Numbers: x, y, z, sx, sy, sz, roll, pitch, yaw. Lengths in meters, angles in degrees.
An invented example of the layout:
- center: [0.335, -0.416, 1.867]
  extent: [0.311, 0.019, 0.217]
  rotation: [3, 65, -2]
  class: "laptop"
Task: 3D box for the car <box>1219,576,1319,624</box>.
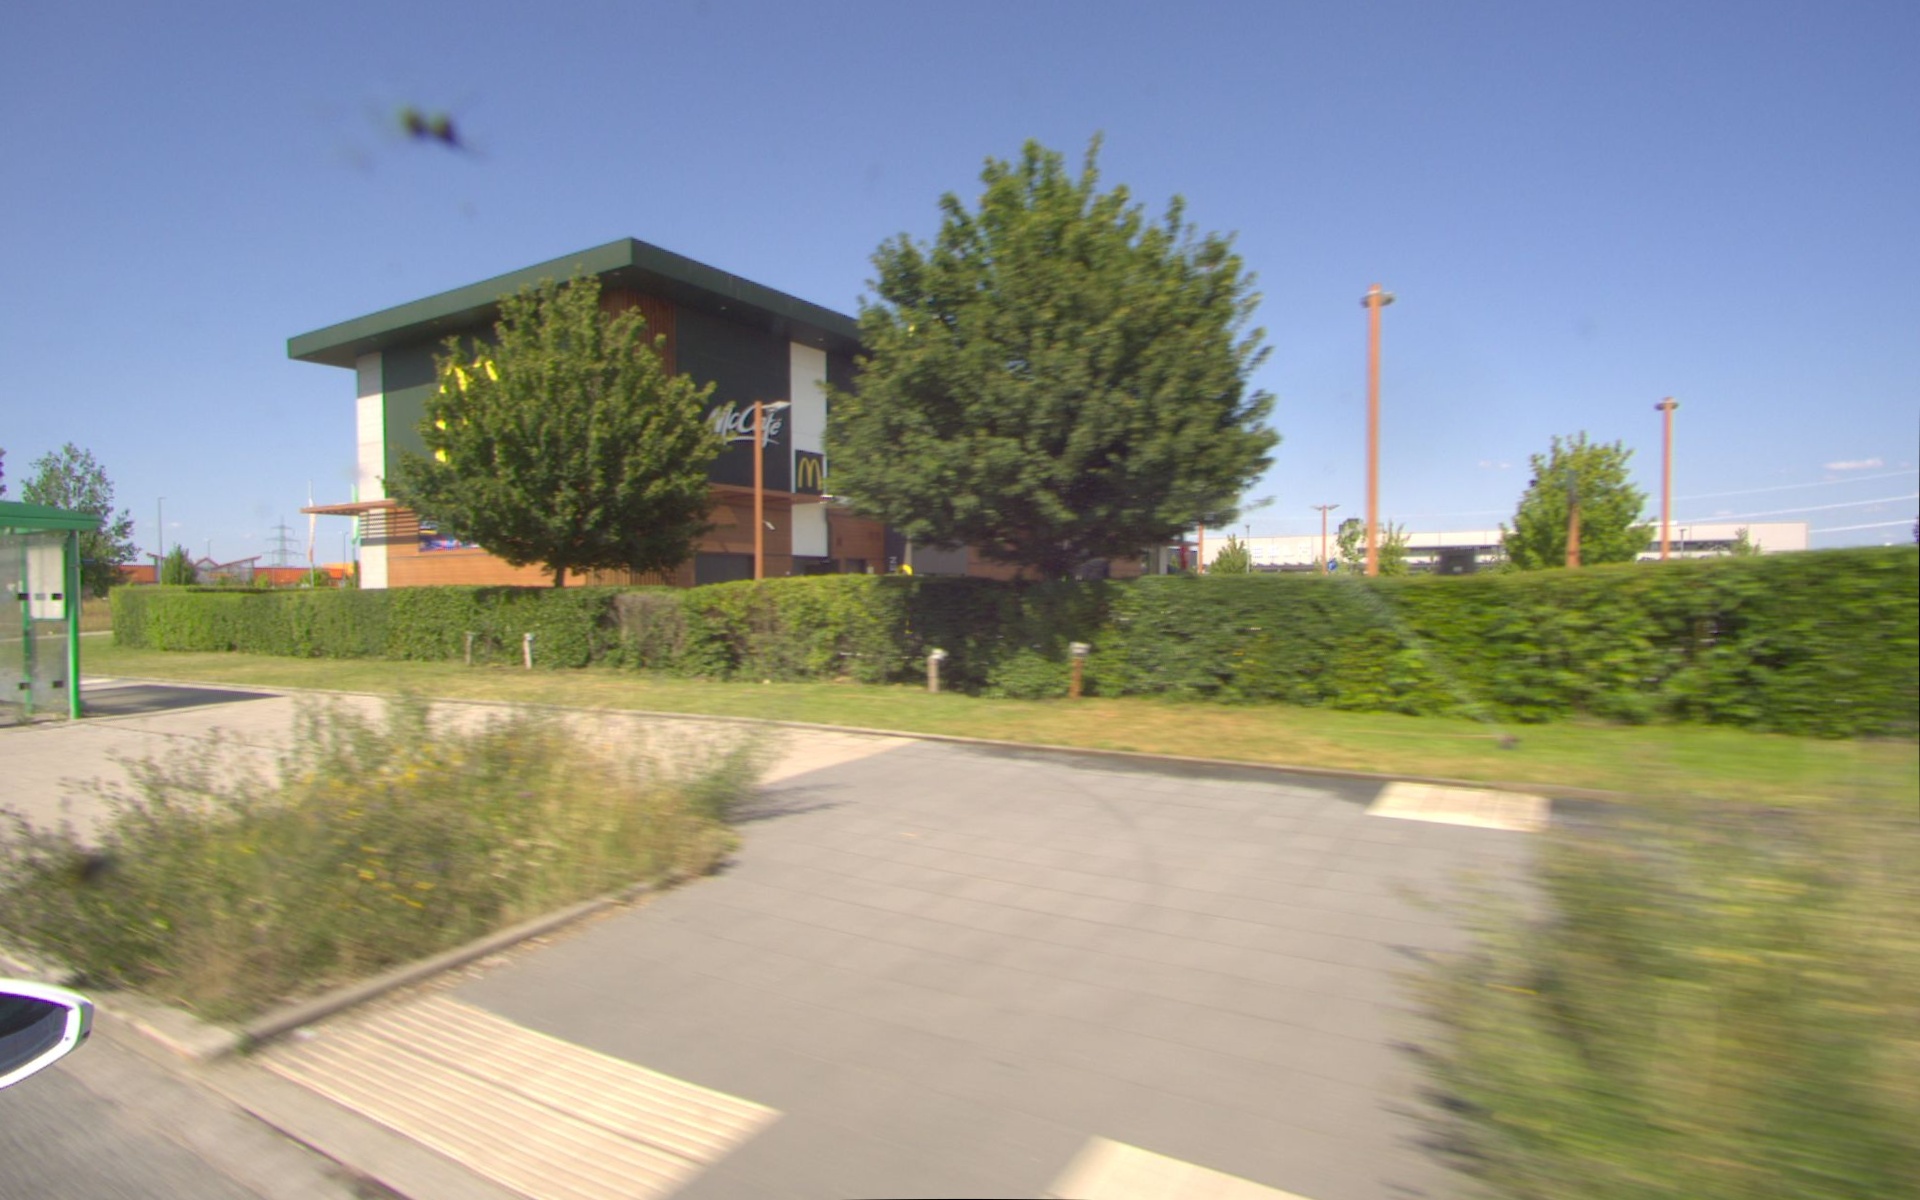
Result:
- center: [11.761, 0.014, 38.392]
  extent: [1.766, 1.724, 3.993]
  rotation: [-1, 0, -16]
  class: "car"
